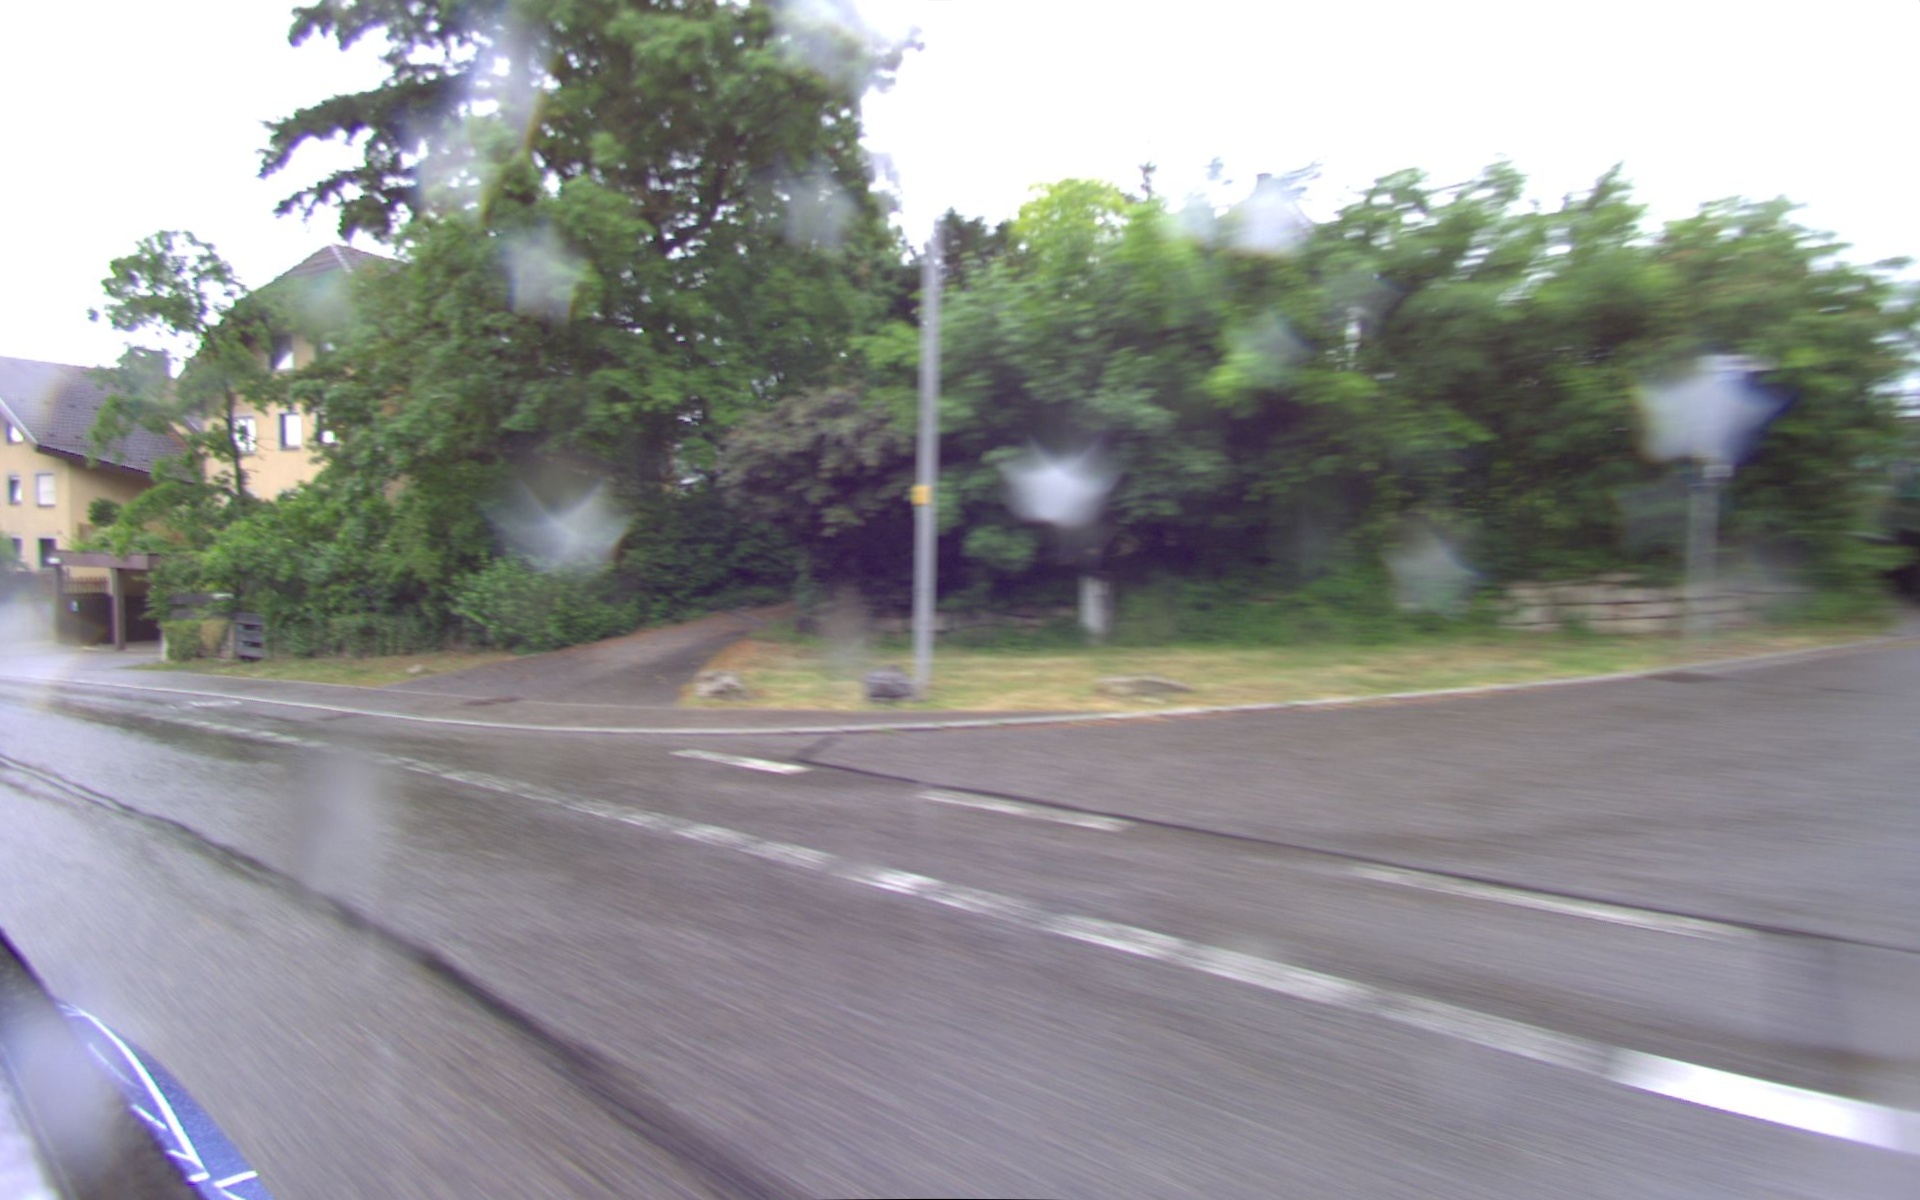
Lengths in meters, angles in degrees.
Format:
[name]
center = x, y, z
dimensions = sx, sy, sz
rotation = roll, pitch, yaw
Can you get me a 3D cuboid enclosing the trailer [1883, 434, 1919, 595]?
[trailer]
center = 12.728, -1.016, 11.630
dimensions = 2.151, 2.019, 3.965
rotation = -1, 6, 28
